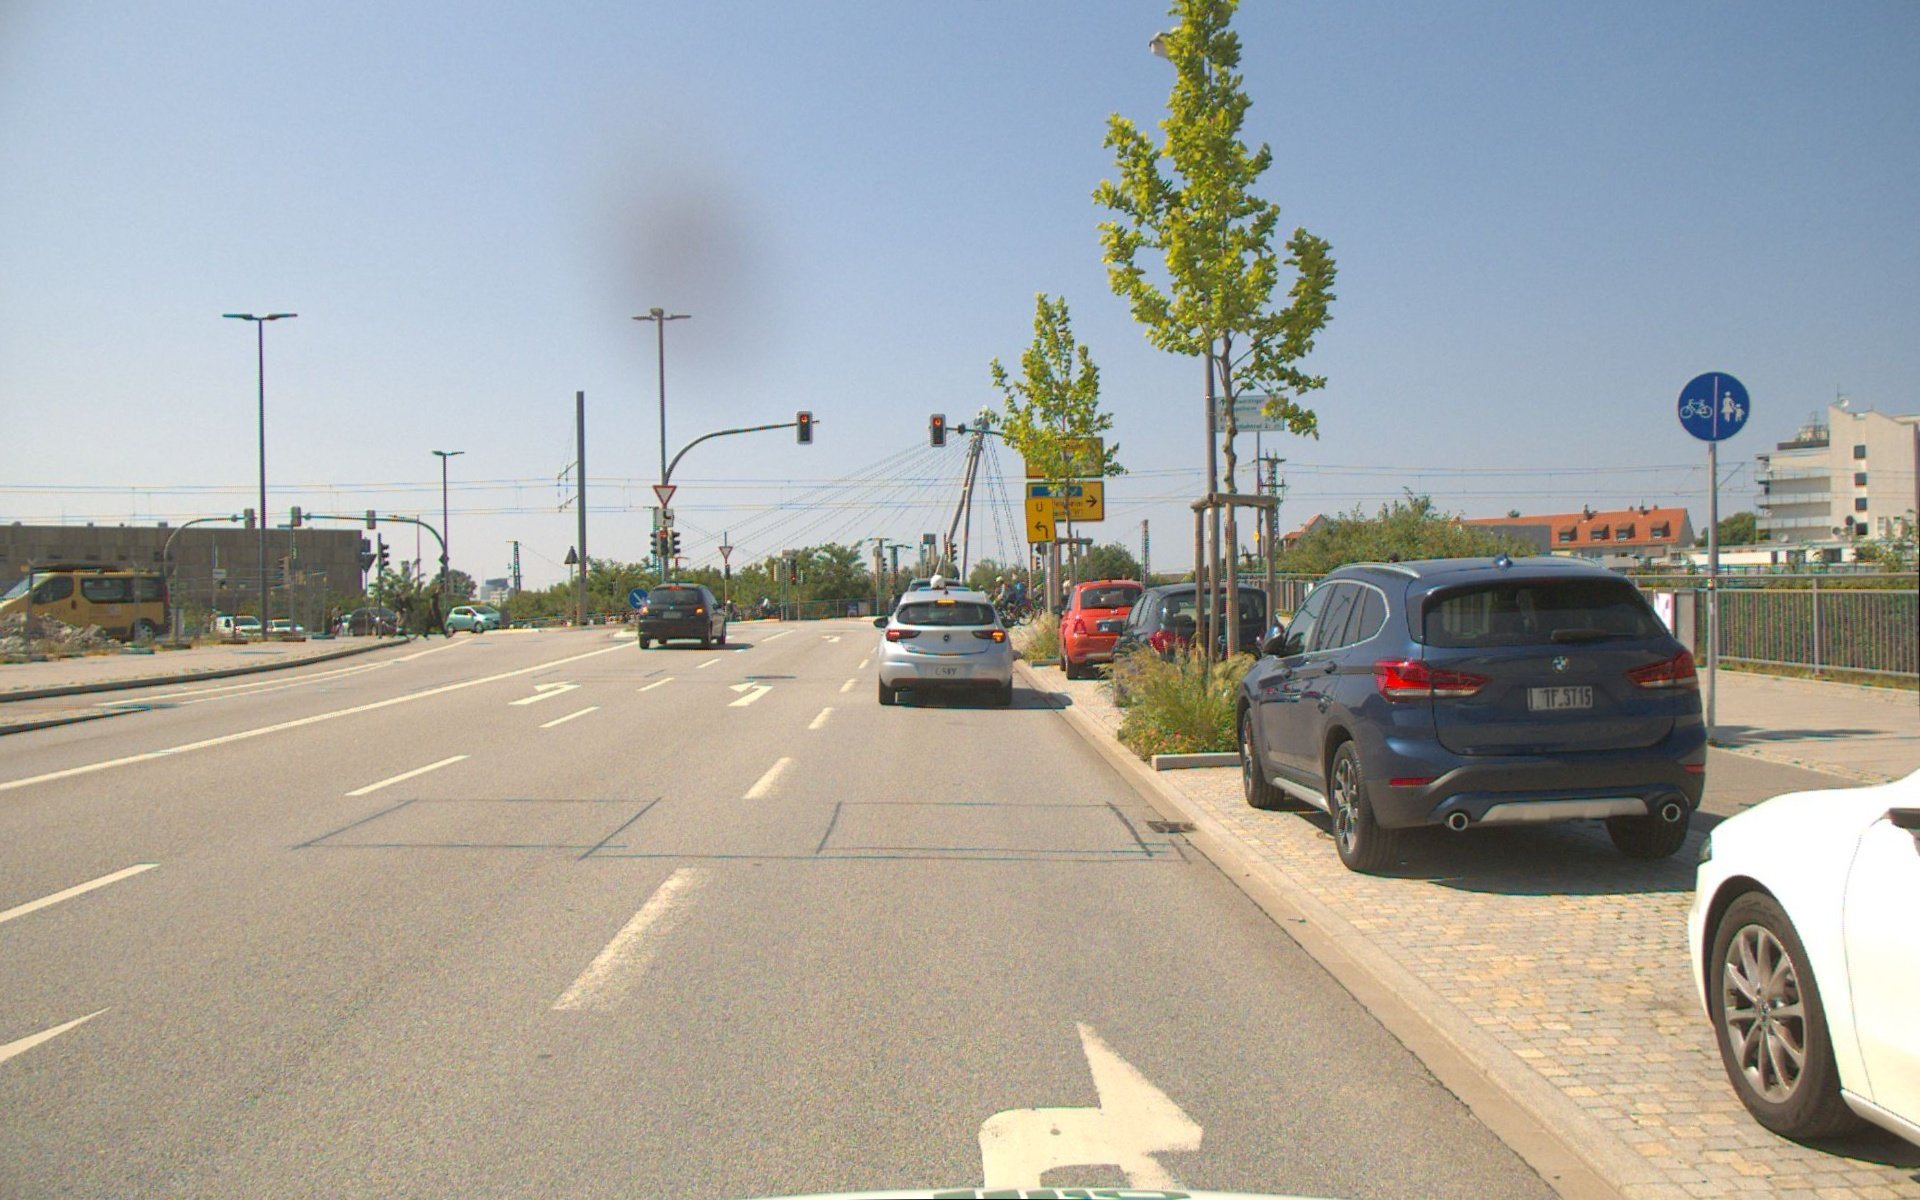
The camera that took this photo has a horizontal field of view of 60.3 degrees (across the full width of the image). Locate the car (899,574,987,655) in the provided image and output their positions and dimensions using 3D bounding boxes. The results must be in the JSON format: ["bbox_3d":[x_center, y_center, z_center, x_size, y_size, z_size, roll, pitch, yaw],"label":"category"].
[{"bbox_3d":[-0.372,0.277,35.299,1.742,1.596,3.999,-1,1,-1],"label":"car"}]

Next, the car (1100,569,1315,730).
[{"bbox_3d":[2.763,0.522,19.325,1.742,1.529,3.999,-5,0,-1],"label":"car"}]

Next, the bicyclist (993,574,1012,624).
[{"bbox_3d":[1.433,-0.042,55.879,0.581,1.673,0.312,1,-2,-7],"label":"bicyclist"}]

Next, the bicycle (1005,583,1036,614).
[{"bbox_3d":[2.448,-0.070,66.928,1.216,1.218,0.481,1,-2,-7],"label":"bicycle"}]

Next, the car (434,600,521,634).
[{"bbox_3d":[-25.520,0.906,87.556,3.902,1.803,2.001,0,-2,12],"label":"car"}]

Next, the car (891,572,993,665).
[{"bbox_3d":[-0.339,0.301,30.846,1.742,1.596,3.999,-1,1,-1],"label":"car"}]

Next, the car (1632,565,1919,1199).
[{"bbox_3d":[3.021,0.640,3.201,1.662,1.501,4.205,-2,0,0],"label":"car"}]

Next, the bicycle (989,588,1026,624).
[{"bbox_3d":[1.618,0.207,56.899,1.216,1.218,0.481,1,-2,-7],"label":"bicycle"}]

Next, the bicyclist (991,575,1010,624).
[{"bbox_3d":[1.392,-0.013,56.914,0.581,1.673,0.312,1,-2,-7],"label":"bicyclist"}]

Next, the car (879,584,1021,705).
[{"bbox_3d":[-0.147,0.537,22.588,1.742,1.467,3.999,-1,1,-1],"label":"car"}]

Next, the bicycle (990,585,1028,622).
[{"bbox_3d":[1.646,0.129,55.975,1.216,1.218,0.481,1,-2,-7],"label":"bicycle"}]

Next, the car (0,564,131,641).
[{"bbox_3d":[-25.669,0.071,46.269,1.961,2.049,3.982,-1,0,38],"label":"car"}]

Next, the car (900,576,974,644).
[{"bbox_3d":[-0.582,0.217,41.891,1.742,1.596,3.999,-1,1,-1],"label":"car"}]

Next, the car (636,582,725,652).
[{"bbox_3d":[-6.435,0.348,38.437,1.587,1.440,3.725,-2,2,-3],"label":"car"}]

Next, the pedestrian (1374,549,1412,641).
[{"bbox_3d":[7.616,-0.077,29.075,0.522,1.603,0.523,0,-2,-1],"label":"pedestrian"}]

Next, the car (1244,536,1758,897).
[{"bbox_3d":[2.896,0.544,9.709,1.785,1.645,3.611,-3,0,0],"label":"car"}]

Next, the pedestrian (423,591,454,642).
[{"bbox_3d":[-17.362,0.551,55.037,0.828,1.675,0.827,0,0,-6],"label":"pedestrian"}]

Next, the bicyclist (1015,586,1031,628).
[{"bbox_3d":[2.552,0.282,66.915,0.581,1.673,0.312,1,-2,-7],"label":"bicyclist"}]

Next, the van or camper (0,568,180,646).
[{"bbox_3d":[-23.260,0.237,43.376,1.964,1.930,4.689,-1,-2,41],"label":"van or camper"}]

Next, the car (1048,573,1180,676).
[{"bbox_3d":[2.490,0.382,27.598,1.742,1.530,3.999,-2,0,-1],"label":"car"}]
